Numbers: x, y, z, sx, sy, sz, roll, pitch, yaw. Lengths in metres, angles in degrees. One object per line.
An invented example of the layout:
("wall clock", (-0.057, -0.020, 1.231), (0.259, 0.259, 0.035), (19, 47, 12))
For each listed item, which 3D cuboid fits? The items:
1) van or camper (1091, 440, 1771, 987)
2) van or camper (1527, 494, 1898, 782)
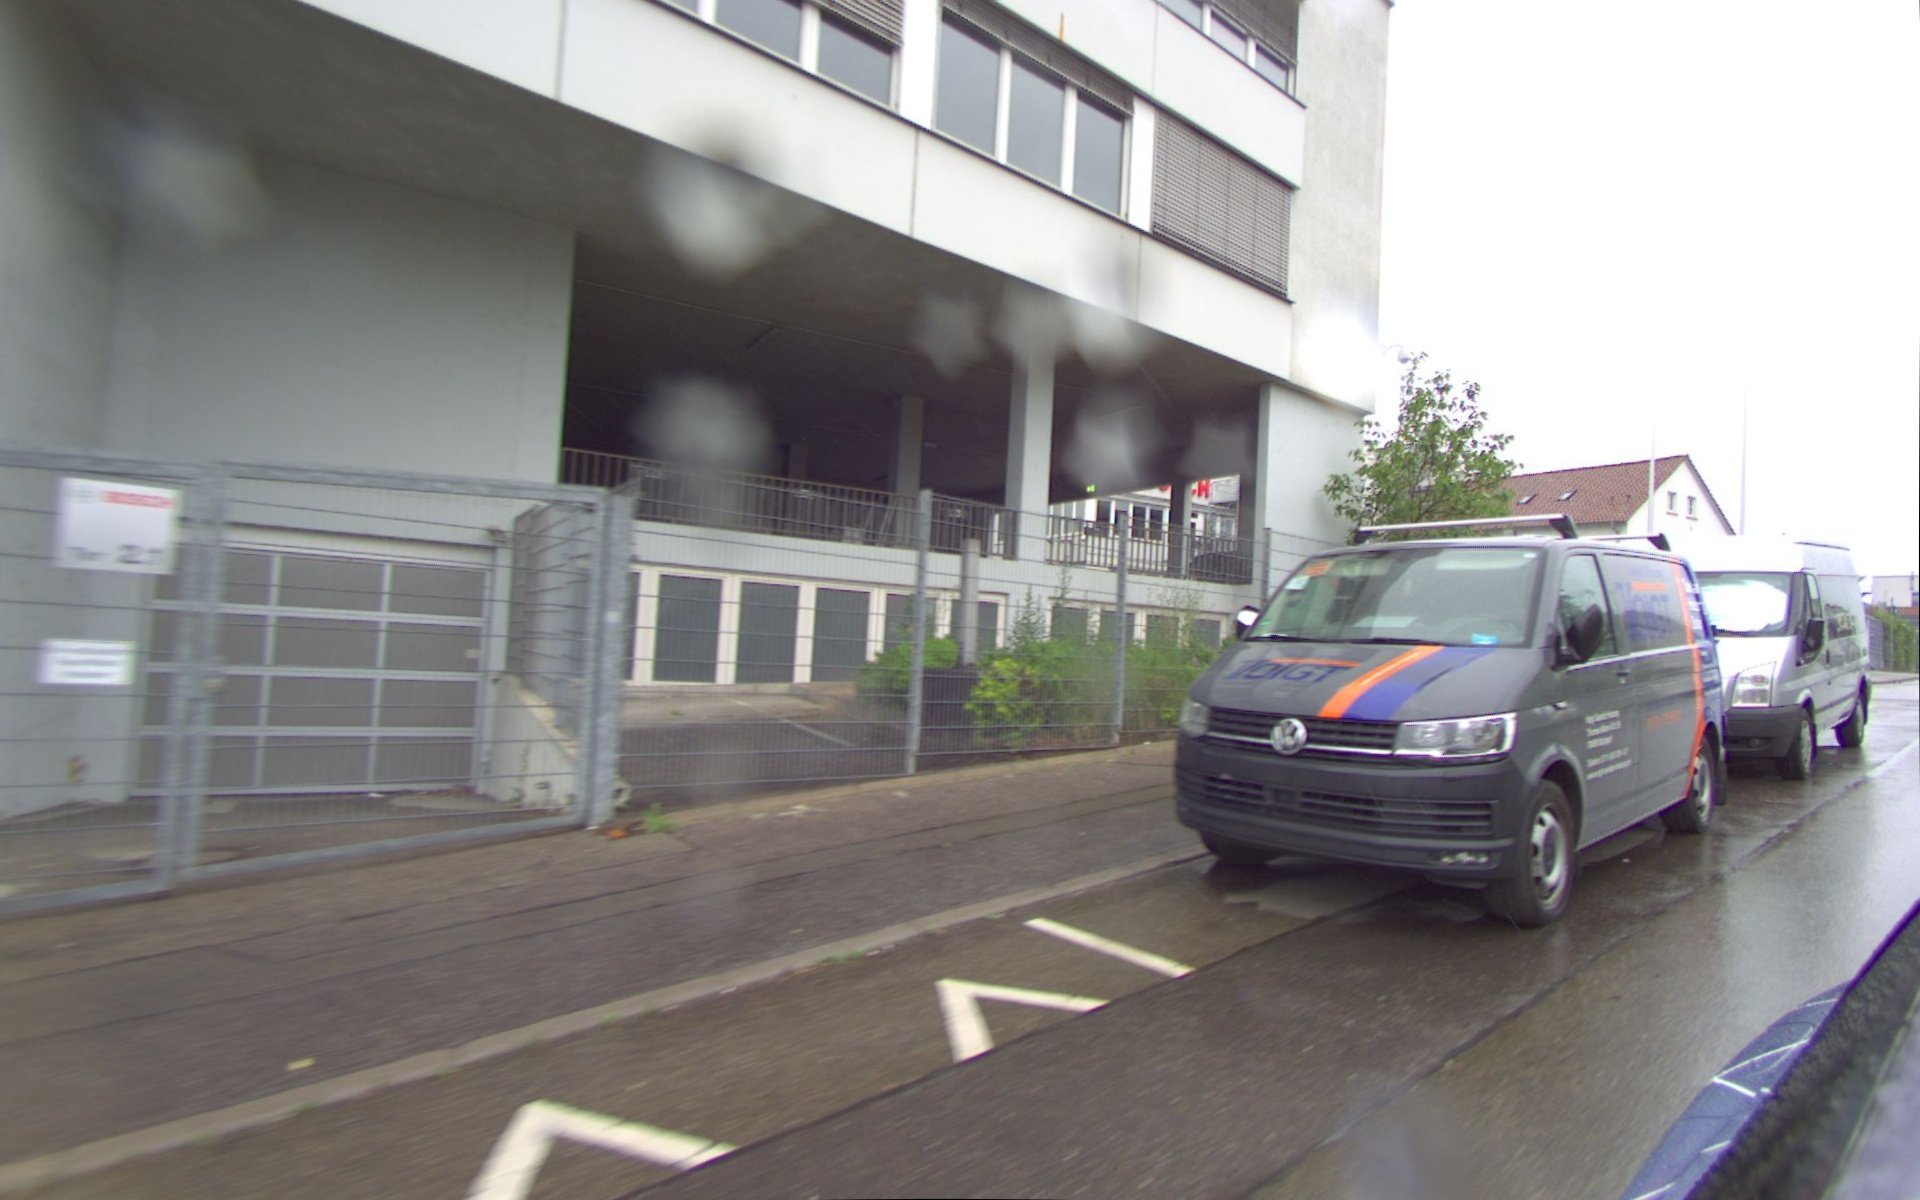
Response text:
("van or camper", (3.300, 0.456, 6.416), (5.111, 2.140, 1.997), (1, 0, -41))
("van or camper", (8.003, 0.314, 10.514), (5.346, 2.271, 1.997), (1, 0, -41))
